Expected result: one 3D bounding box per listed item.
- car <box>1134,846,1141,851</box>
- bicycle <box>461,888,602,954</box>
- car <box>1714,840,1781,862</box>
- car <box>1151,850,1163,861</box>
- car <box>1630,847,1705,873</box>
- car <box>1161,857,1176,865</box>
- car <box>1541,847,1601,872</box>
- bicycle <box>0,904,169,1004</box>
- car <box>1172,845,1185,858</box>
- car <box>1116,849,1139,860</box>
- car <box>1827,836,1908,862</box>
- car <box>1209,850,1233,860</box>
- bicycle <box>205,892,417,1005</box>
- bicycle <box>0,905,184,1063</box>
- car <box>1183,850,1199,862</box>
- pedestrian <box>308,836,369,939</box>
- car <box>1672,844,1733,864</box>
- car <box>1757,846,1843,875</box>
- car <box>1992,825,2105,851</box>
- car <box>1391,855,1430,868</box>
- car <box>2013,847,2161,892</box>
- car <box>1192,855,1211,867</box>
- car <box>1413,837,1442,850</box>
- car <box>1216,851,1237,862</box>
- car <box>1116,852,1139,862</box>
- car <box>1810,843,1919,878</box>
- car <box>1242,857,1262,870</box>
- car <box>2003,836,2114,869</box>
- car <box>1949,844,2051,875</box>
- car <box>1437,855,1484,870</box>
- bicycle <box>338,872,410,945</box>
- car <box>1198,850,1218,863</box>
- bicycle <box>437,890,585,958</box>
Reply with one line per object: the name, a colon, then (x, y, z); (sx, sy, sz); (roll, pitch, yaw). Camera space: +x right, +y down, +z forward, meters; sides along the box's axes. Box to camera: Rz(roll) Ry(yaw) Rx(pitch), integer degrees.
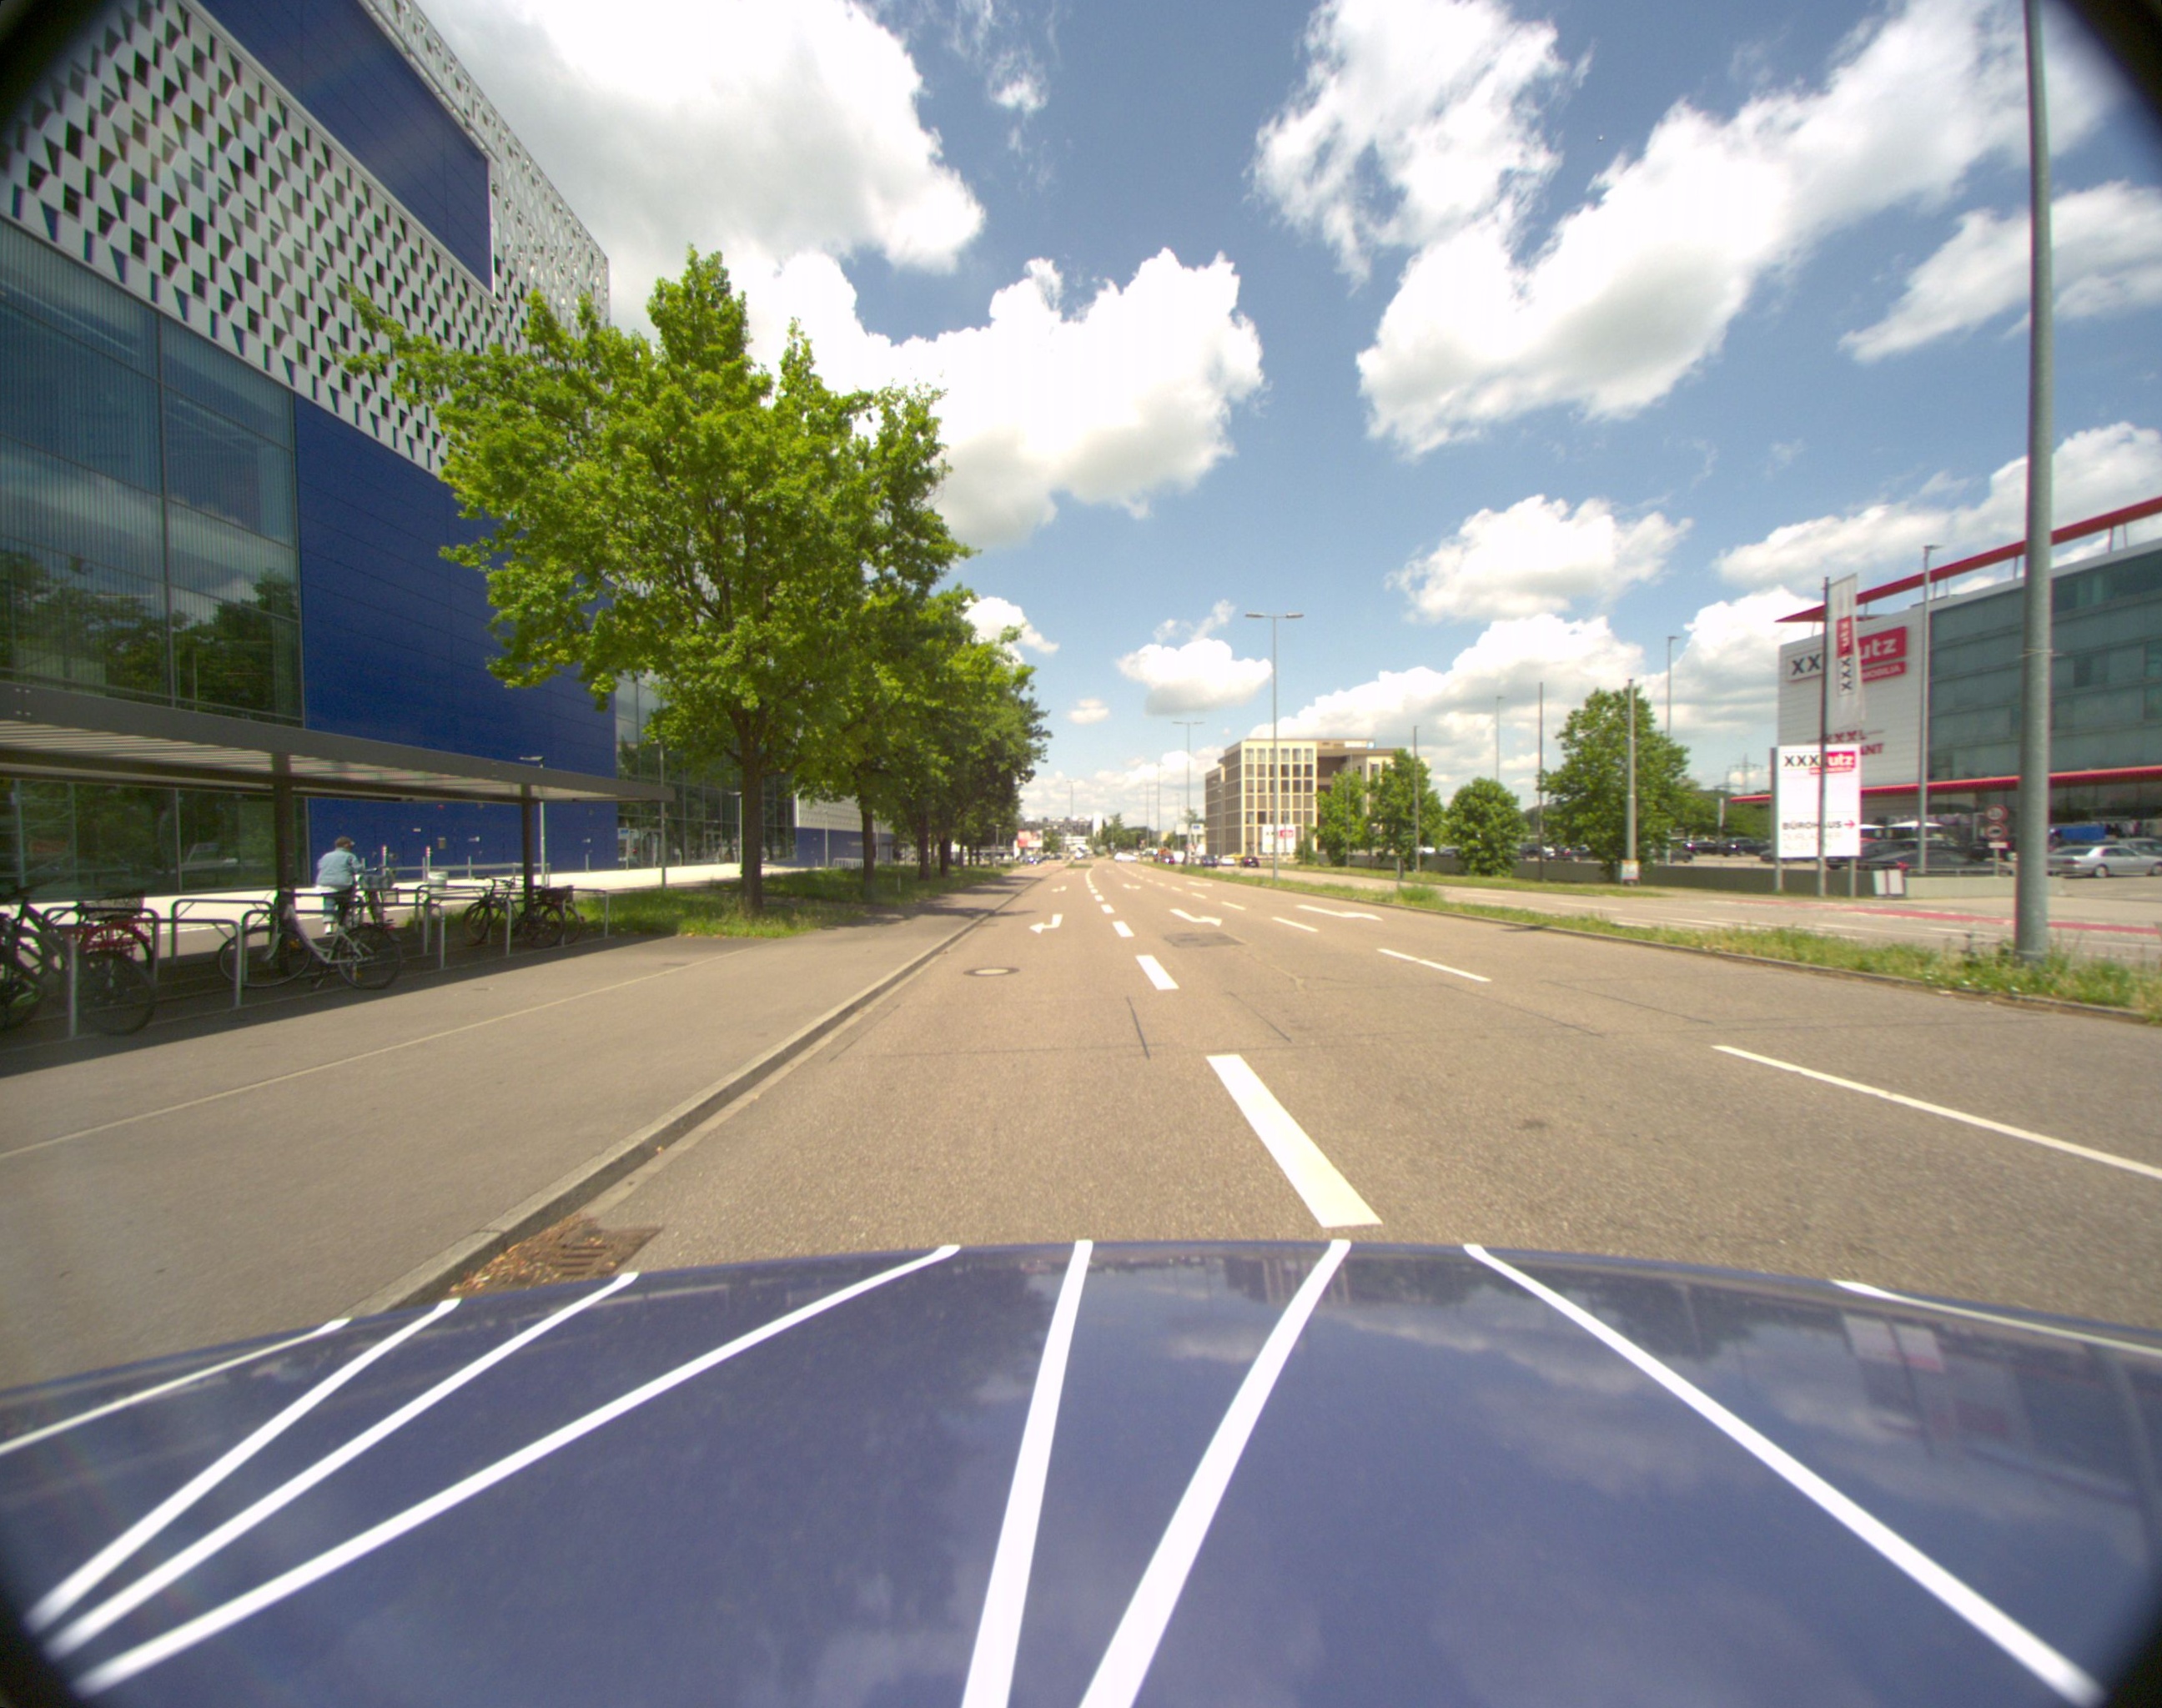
car: (19.346, -1.917, 261.289); (2.289, 1.708, 4.483); (0, 1, 3)
bicycle: (-8.797, 1.074, 12.203); (1.867, 0.989, 0.423); (1, 1, -5)
car: (60.431, -0.274, 68.967); (4.360, 1.978, 1.999); (0, 1, -1)
car: (12.301, 0.262, 123.608); (1.796, 1.635, 4.171); (0, 0, 3)
car: (45.698, 0.462, 59.293); (4.360, 1.977, 2.000); (0, -1, -1)
car: (12.790, 1.020, 111.373); (1.796, 1.243, 4.307); (0, 0, 2)
car: (45.938, 0.494, 71.291); (4.360, 2.315, 1.999); (0, 1, -1)
bicycle: (-10.967, 1.053, 8.079); (1.867, 0.989, 0.423); (1, 2, -5)
car: (15.778, -0.391, 123.391); (1.861, 2.031, 3.577); (0, 0, 3)
car: (8.404, 0.079, 137.977); (3.996, 2.002, 2.000); (0, 0, 2)
car: (61.774, -0.414, 59.739); (4.360, 1.978, 1.999); (0, 1, -1)
car: (25.190, 0.180, 136.333); (3.991, 1.681, 1.861); (0, 0, 18)
bicycle: (-8.359, 1.014, 8.279); (1.900, 1.163, 0.424); (1, 1, 1)
bicycle: (-8.411, 1.015, 6.051); (1.867, 1.180, 0.423); (0, 1, -5)
car: (15.837, 0.304, 109.447); (1.796, 1.691, 4.227); (0, 0, 2)
pedestrian: (-12.768, 0.556, 13.066); (0.523, 1.712, 0.636); (2, 3, 37)
car: (60.624, -0.022, 74.169); (4.360, 1.978, 1.999); (0, 1, -1)
car: (51.368, 0.461, 54.305); (4.298, 2.031, 1.991); (0, 1, -1)
car: (66.587, -1.096, 52.331); (5.131, 1.768, 2.198); (0, 0, -2)
car: (40.708, 0.917, 93.948); (3.996, 1.586, 1.919); (0, 0, 2)
car: (45.467, 0.666, 34.324); (4.360, 1.978, 1.999); (0, 1, -1)
car: (15.192, 0.899, 96.039); (1.796, 1.409, 4.674); (2, 0, 1)
car: (49.026, -1.498, 107.515); (1.855, 1.822, 4.673); (0, 0, -1)
car: (20.493, 0.398, 107.187); (1.624, 1.464, 4.356); (0, 0, -6)
car: (8.391, 0.526, 137.843); (3.997, 1.681, 1.858); (0, 0, 1)
car: (46.177, 0.379, 44.847); (4.360, 1.978, 1.999); (0, 1, -1)
car: (20.572, 1.106, 91.589); (1.623, 1.461, 4.117); (0, 0, 3)
car: (60.773, -0.095, 47.293); (4.360, 1.978, 1.999); (0, 1, -1)
car: (60.464, 0.375, 50.050); (4.360, 1.978, 1.999); (0, 1, -1)
car: (39.839, 0.915, 79.893); (3.996, 1.586, 1.850); (0, 0, 2)
bicycle: (-12.225, 0.901, 13.116); (2.008, 1.101, 0.578); (2, 1, 37)
car: (14.576, 0.280, 87.450); (1.743, 1.466, 3.675); (0, 1, 0)
bicycle: (-8.760, 1.073, 11.714); (1.867, 0.989, 0.423); (1, 1, -5)
